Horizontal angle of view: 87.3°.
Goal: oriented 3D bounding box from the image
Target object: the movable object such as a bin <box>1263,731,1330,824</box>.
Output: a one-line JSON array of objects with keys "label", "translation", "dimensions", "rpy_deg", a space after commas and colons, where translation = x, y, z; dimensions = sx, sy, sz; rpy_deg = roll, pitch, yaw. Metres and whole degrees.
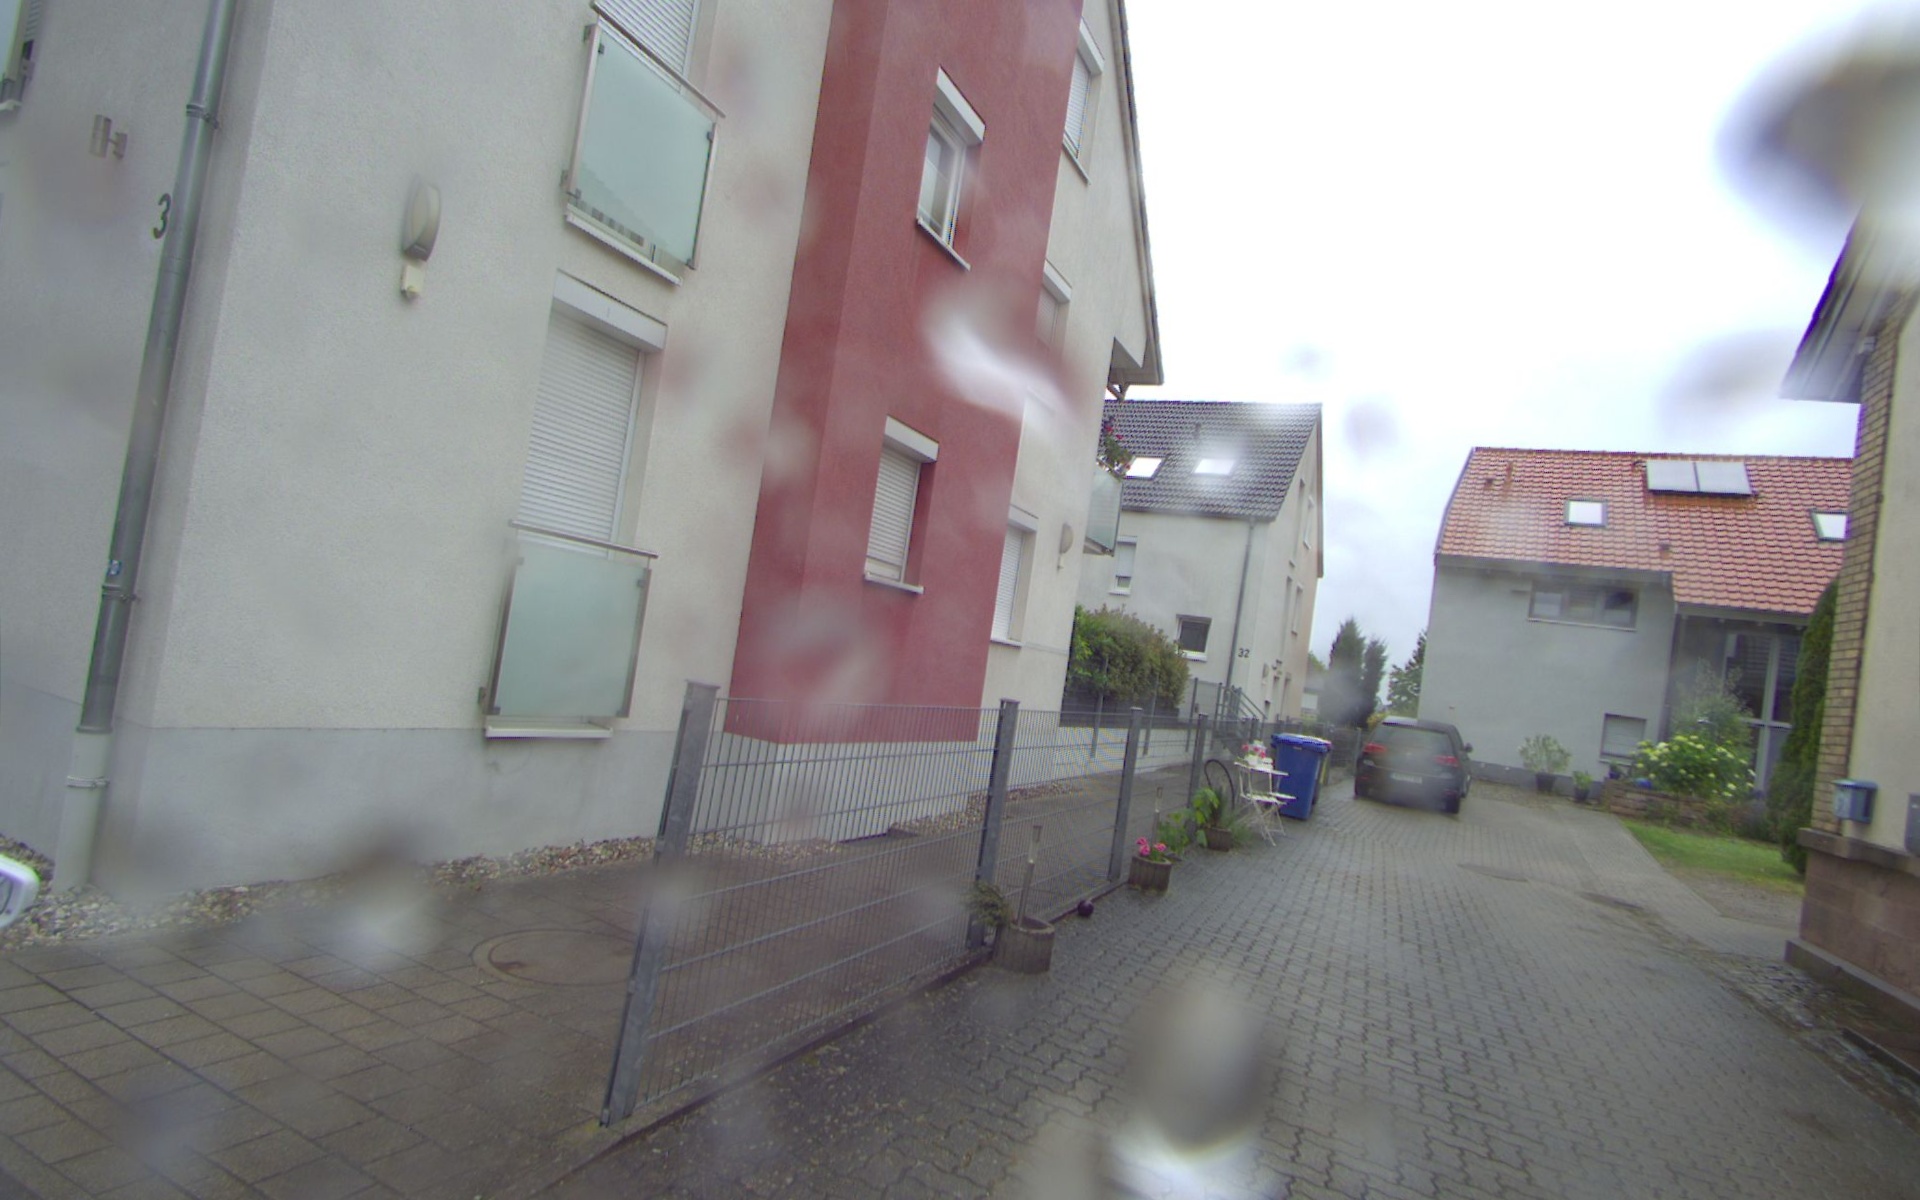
[{"label": "movable object such as a bin", "translation": [4.502, 2.354, 13.443], "dimensions": [0.675, 1.108, 0.536], "rpy_deg": [7, -2, 25]}]

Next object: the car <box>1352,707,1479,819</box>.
[{"label": "car", "translation": [8.551, 2.914, 18.700], "dimensions": [1.656, 1.491, 3.993], "rpy_deg": [7, 0, 30]}]

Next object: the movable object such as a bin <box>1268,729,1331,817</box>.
[{"label": "movable object such as a bin", "translation": [4.817, 2.438, 14.258], "dimensions": [0.675, 1.108, 0.536], "rpy_deg": [7, -2, 25]}]
